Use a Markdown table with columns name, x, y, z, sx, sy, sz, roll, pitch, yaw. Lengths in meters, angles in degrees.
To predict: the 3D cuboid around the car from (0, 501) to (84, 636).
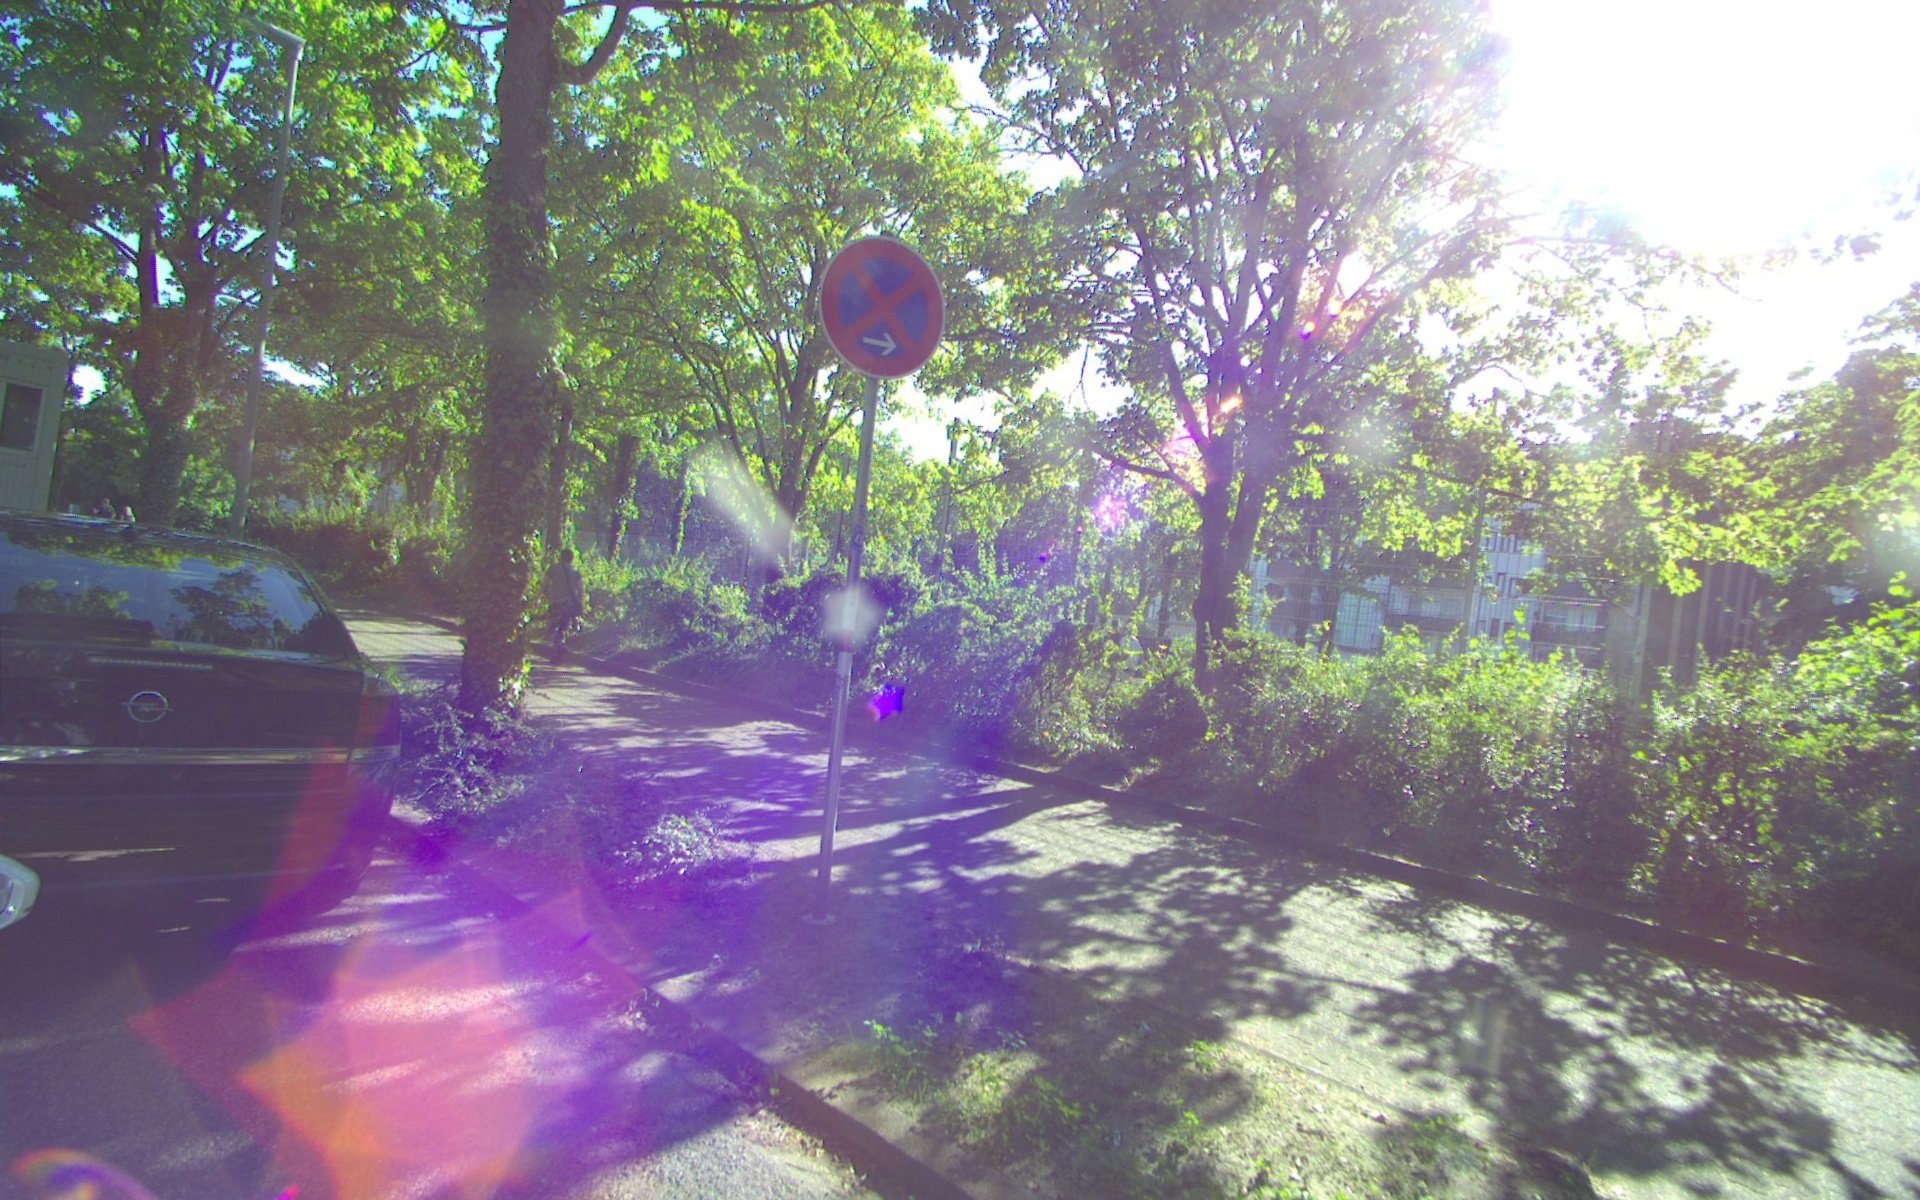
| name | x | y | z | sx | sy | sz | roll | pitch | yaw |
| --- | --- | --- | --- | --- | --- | --- | --- | --- | --- |
| car | -12.353 | -0.552 | 12.550 | 3.946 | 1.437 | 1.638 | 7 | -1 | 43 |

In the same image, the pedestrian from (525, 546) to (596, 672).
| name | x | y | z | sx | sy | sz | roll | pitch | yaw |
| --- | --- | --- | --- | --- | --- | --- | --- | --- | --- |
| pedestrian | -5.494 | 0.115 | 13.840 | 0.569 | 1.627 | 0.664 | 7 | 0 | -38 |

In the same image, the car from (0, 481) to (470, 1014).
| name | x | y | z | sx | sy | sz | roll | pitch | yaw |
| --- | --- | --- | --- | --- | --- | --- | --- | --- | --- |
| car | -3.879 | 0.320 | 4.432 | 3.978 | 1.497 | 1.745 | 6 | -2 | 45 |

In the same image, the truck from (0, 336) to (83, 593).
| name | x | y | z | sx | sy | sz | roll | pitch | yaw |
| --- | --- | --- | --- | --- | --- | --- | --- | --- | --- |
| truck | -19.677 | -2.733 | 19.306 | 10.205 | 4.042 | 2.770 | 7 | -1 | 42 |

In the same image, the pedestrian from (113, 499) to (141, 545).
| name | x | y | z | sx | sy | sz | roll | pitch | yaw |
| --- | --- | --- | --- | --- | --- | --- | --- | --- | --- |
| pedestrian | -35.223 | -3.290 | 42.540 | 0.690 | 1.835 | 0.697 | 7 | 2 | 39 |

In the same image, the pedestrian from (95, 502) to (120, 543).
| name | x | y | z | sx | sy | sz | roll | pitch | yaw |
| --- | --- | --- | --- | --- | --- | --- | --- | --- | --- |
| pedestrian | -35.627 | -3.227 | 42.033 | 0.591 | 1.631 | 0.597 | 7 | 2 | 39 |
